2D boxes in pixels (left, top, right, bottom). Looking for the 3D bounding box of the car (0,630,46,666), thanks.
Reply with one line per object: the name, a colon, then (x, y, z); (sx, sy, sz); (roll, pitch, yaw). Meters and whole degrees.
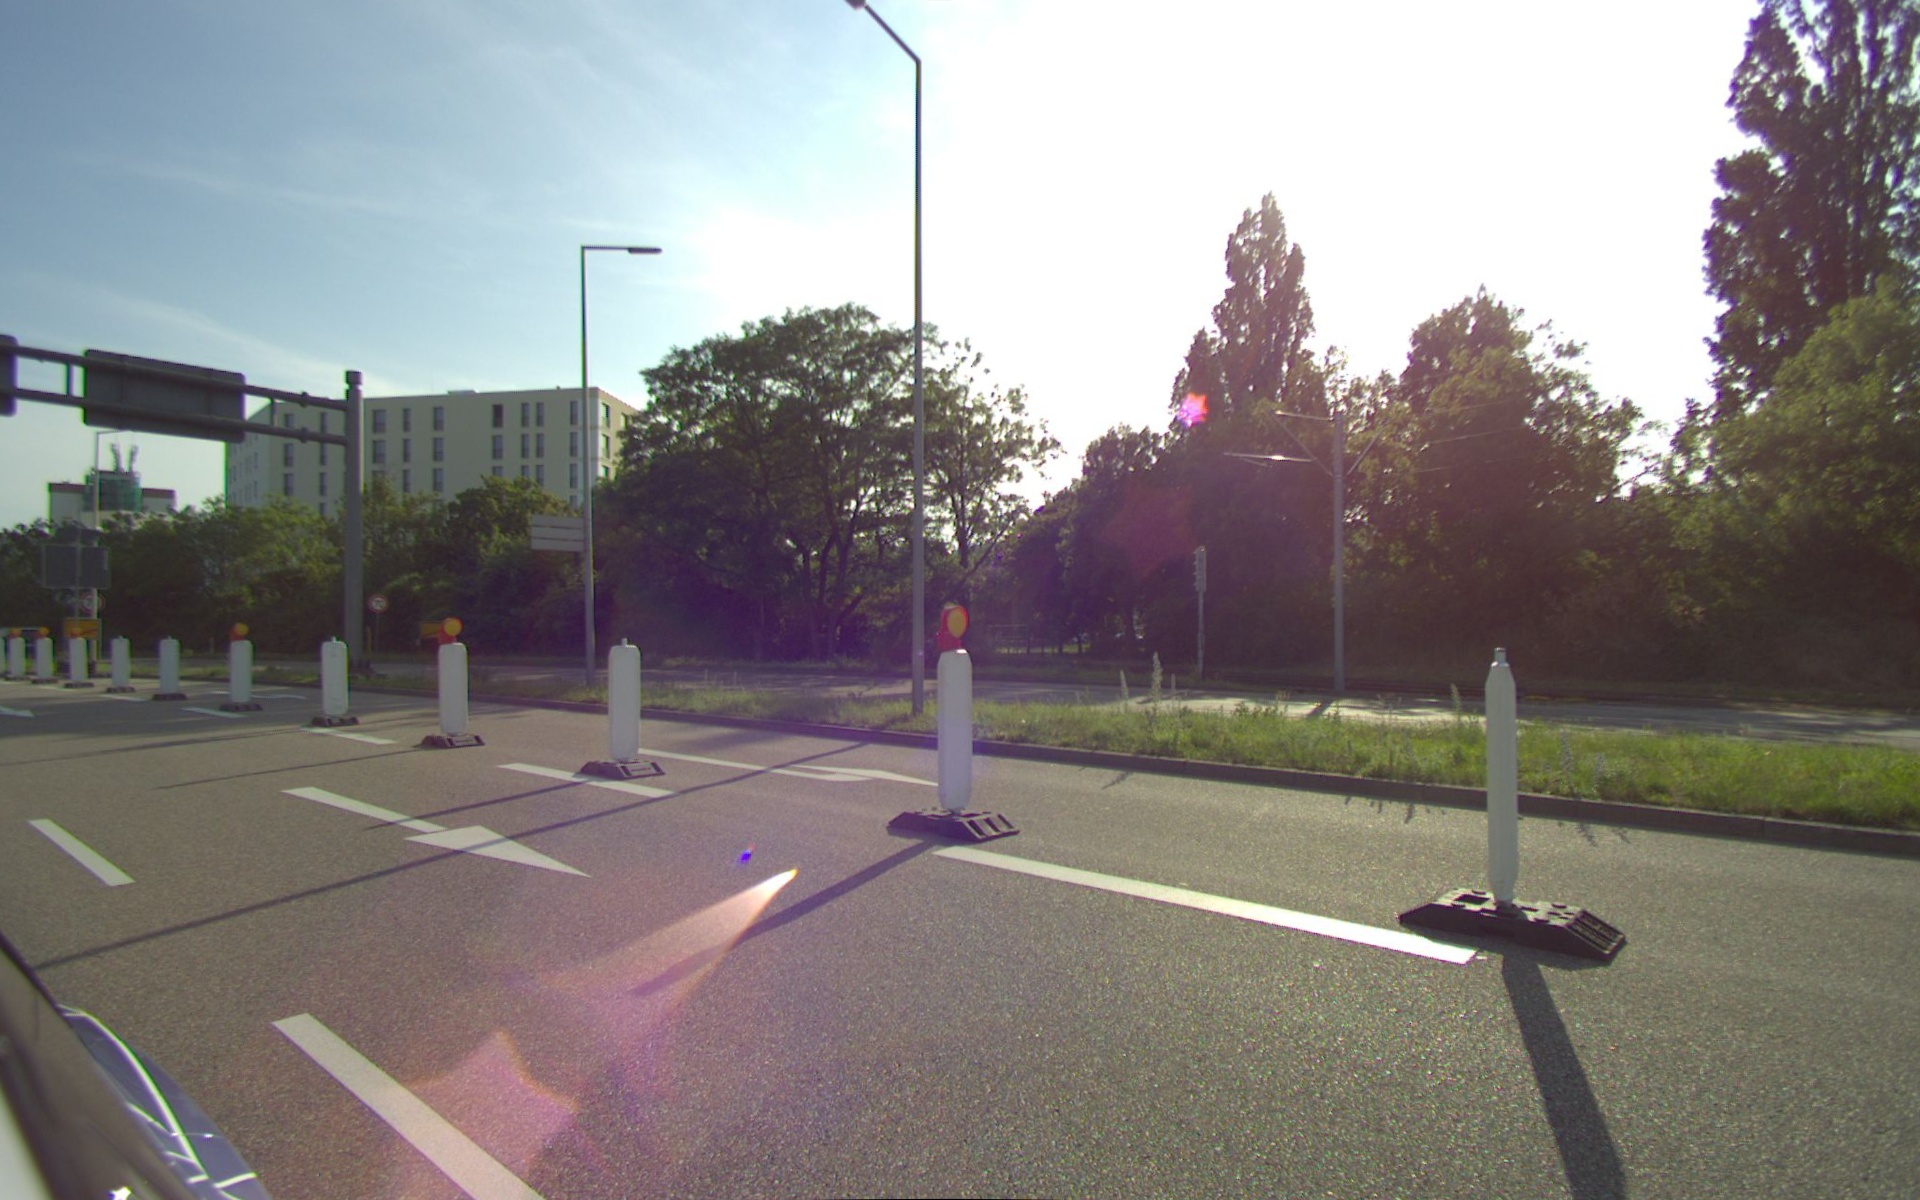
car: (-49.843, 2.523, 53.239); (4.115, 1.820, 1.769); (-2, -2, 36)
